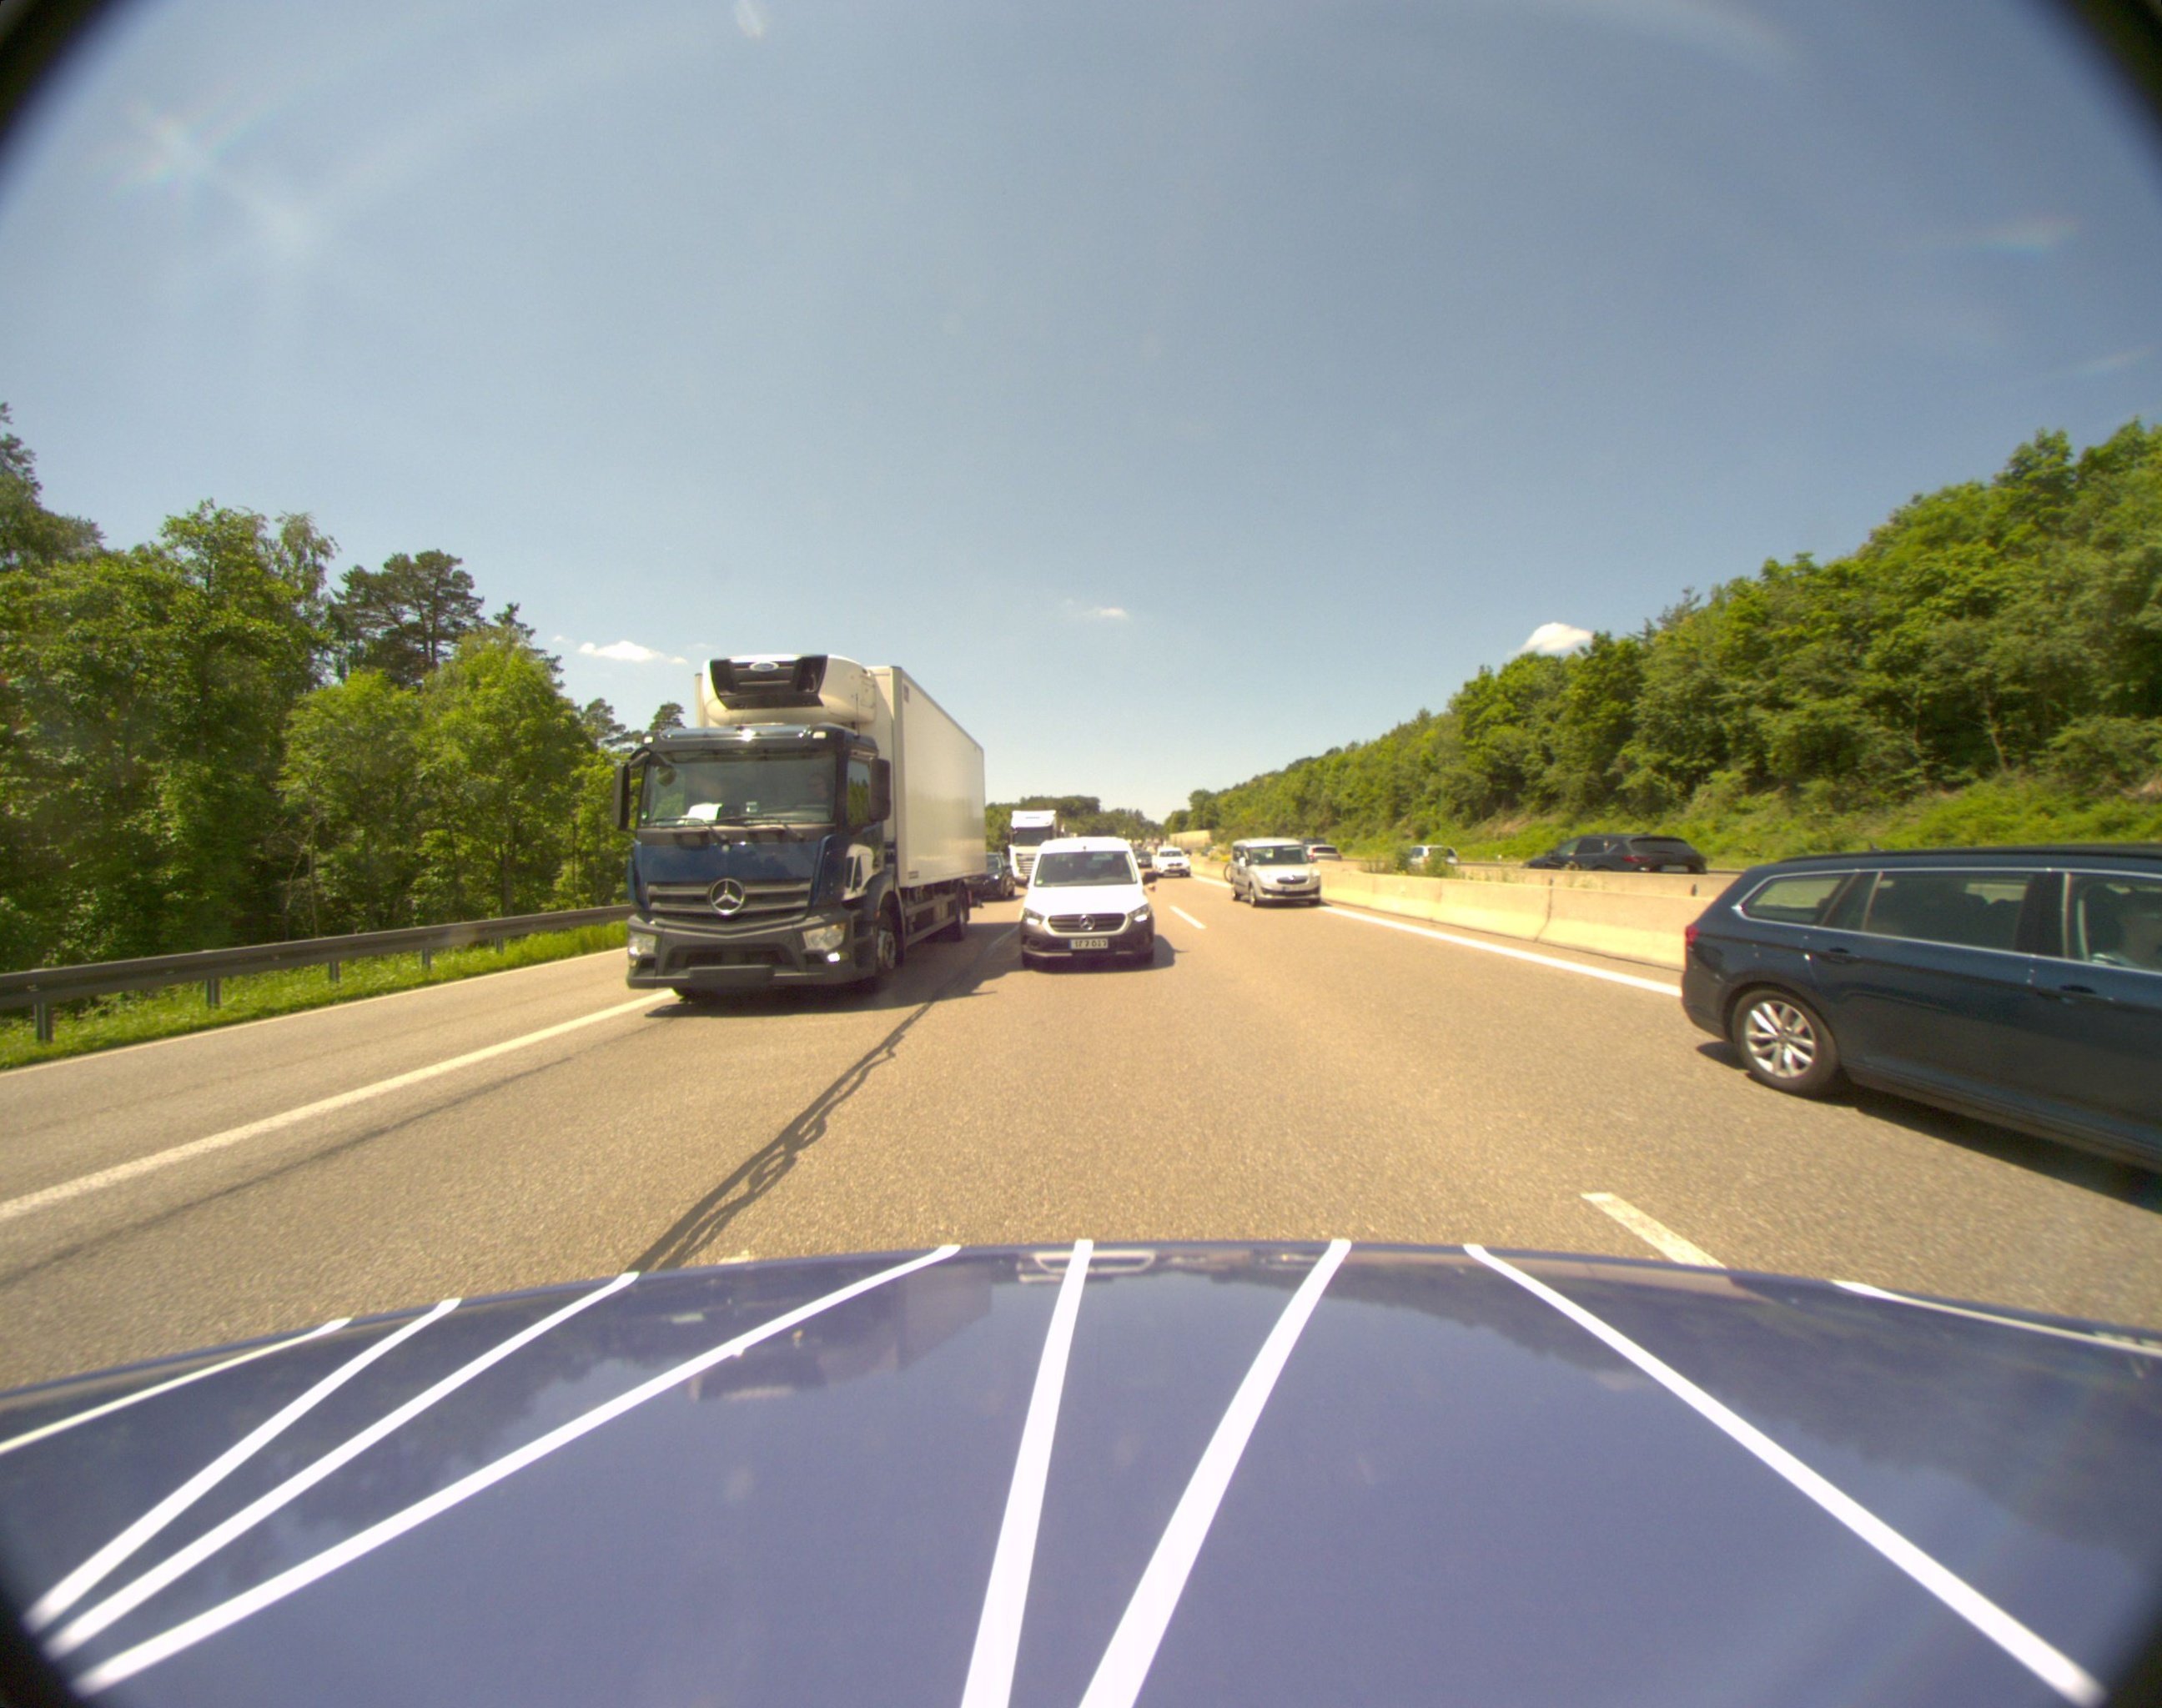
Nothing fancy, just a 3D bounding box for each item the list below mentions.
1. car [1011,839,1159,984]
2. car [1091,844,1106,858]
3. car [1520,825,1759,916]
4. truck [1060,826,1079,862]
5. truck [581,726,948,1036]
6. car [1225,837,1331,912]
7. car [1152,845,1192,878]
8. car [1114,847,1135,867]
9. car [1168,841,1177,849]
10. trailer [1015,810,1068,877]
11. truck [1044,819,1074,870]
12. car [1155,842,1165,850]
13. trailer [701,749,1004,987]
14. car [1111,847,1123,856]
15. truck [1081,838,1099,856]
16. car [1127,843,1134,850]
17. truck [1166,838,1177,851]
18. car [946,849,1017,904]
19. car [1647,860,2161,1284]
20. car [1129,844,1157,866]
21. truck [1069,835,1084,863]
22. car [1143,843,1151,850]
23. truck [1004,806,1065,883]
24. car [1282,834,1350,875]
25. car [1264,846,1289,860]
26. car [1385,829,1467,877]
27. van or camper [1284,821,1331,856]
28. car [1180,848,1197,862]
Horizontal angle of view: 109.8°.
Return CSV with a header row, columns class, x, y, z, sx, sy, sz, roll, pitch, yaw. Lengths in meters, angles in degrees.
class,x,y,z,sx,sy,sz,roll,pitch,yaw
car,0.134,0.671,11.484,1.756,1.681,4.363,-2,2,2
car,2.639,-0.469,114.942,1.999,2.002,3.998,-2,2,-1
car,12.056,0.260,16.877,1.998,1.682,4.512,-2,2,0
truck,-1.459,-1.304,102.099,2.187,4.438,10.868,-2,0,0
truck,-3.373,0.218,9.291,2.562,2.924,4.103,-1,2,2
car,5.342,0.466,21.264,1.857,1.763,4.917,-2,2,3
car,5.145,0.403,43.569,1.824,1.696,3.999,-2,2,1
car,4.884,0.291,85.631,1.999,2.002,3.998,-2,2,-1
car,26.116,-2.629,216.080,2.128,2.002,4.363,-2,2,1
trailer,-2.467,-0.787,51.687,2.766,4.061,11.614,0,2,1
truck,-1.993,-0.849,73.083,2.394,4.438,10.868,-2,0,0
car,19.548,-2.042,188.669,1.975,2.002,4.000,-2,0,0
trailer,-3.243,0.125,13.397,2.562,2.882,7.882,-2,1,2
car,6.413,-0.436,136.069,1.803,1.660,4.000,-2,0,0
truck,2.215,-1.760,191.700,4.084,4.403,11.396,-2,0,0
car,16.311,-2.471,248.278,1.975,2.002,4.000,-2,0,0
truck,27.897,-2.946,234.557,2.699,3.967,7.988,-2,2,1
car,-3.437,0.722,27.102,1.999,1.682,4.609,-1,2,-1
car,4.788,0.787,2.852,1.879,1.441,4.678,-2,0,1
car,5.205,0.052,63.916,1.999,1.747,3.998,-2,2,0
truck,-0.705,-0.788,119.534,2.187,4.073,10.868,-2,0,0
car,19.379,-2.096,223.189,1.975,2.002,4.000,-2,0,0
truck,-2.574,-0.632,44.662,2.766,4.061,7.332,-2,2,2
car,12.379,0.015,40.430,1.998,2.002,5.387,-2,0,1
car,24.937,-0.136,97.008,1.998,1.682,4.512,-2,2,0
car,15.710,-0.047,34.821,1.917,2.002,3.926,-2,0,-1
van or camper,19.832,-1.376,66.904,2.159,2.843,6.651,-2,2,0
car,13.555,0.140,95.887,1.783,1.563,3.831,-2,2,3
